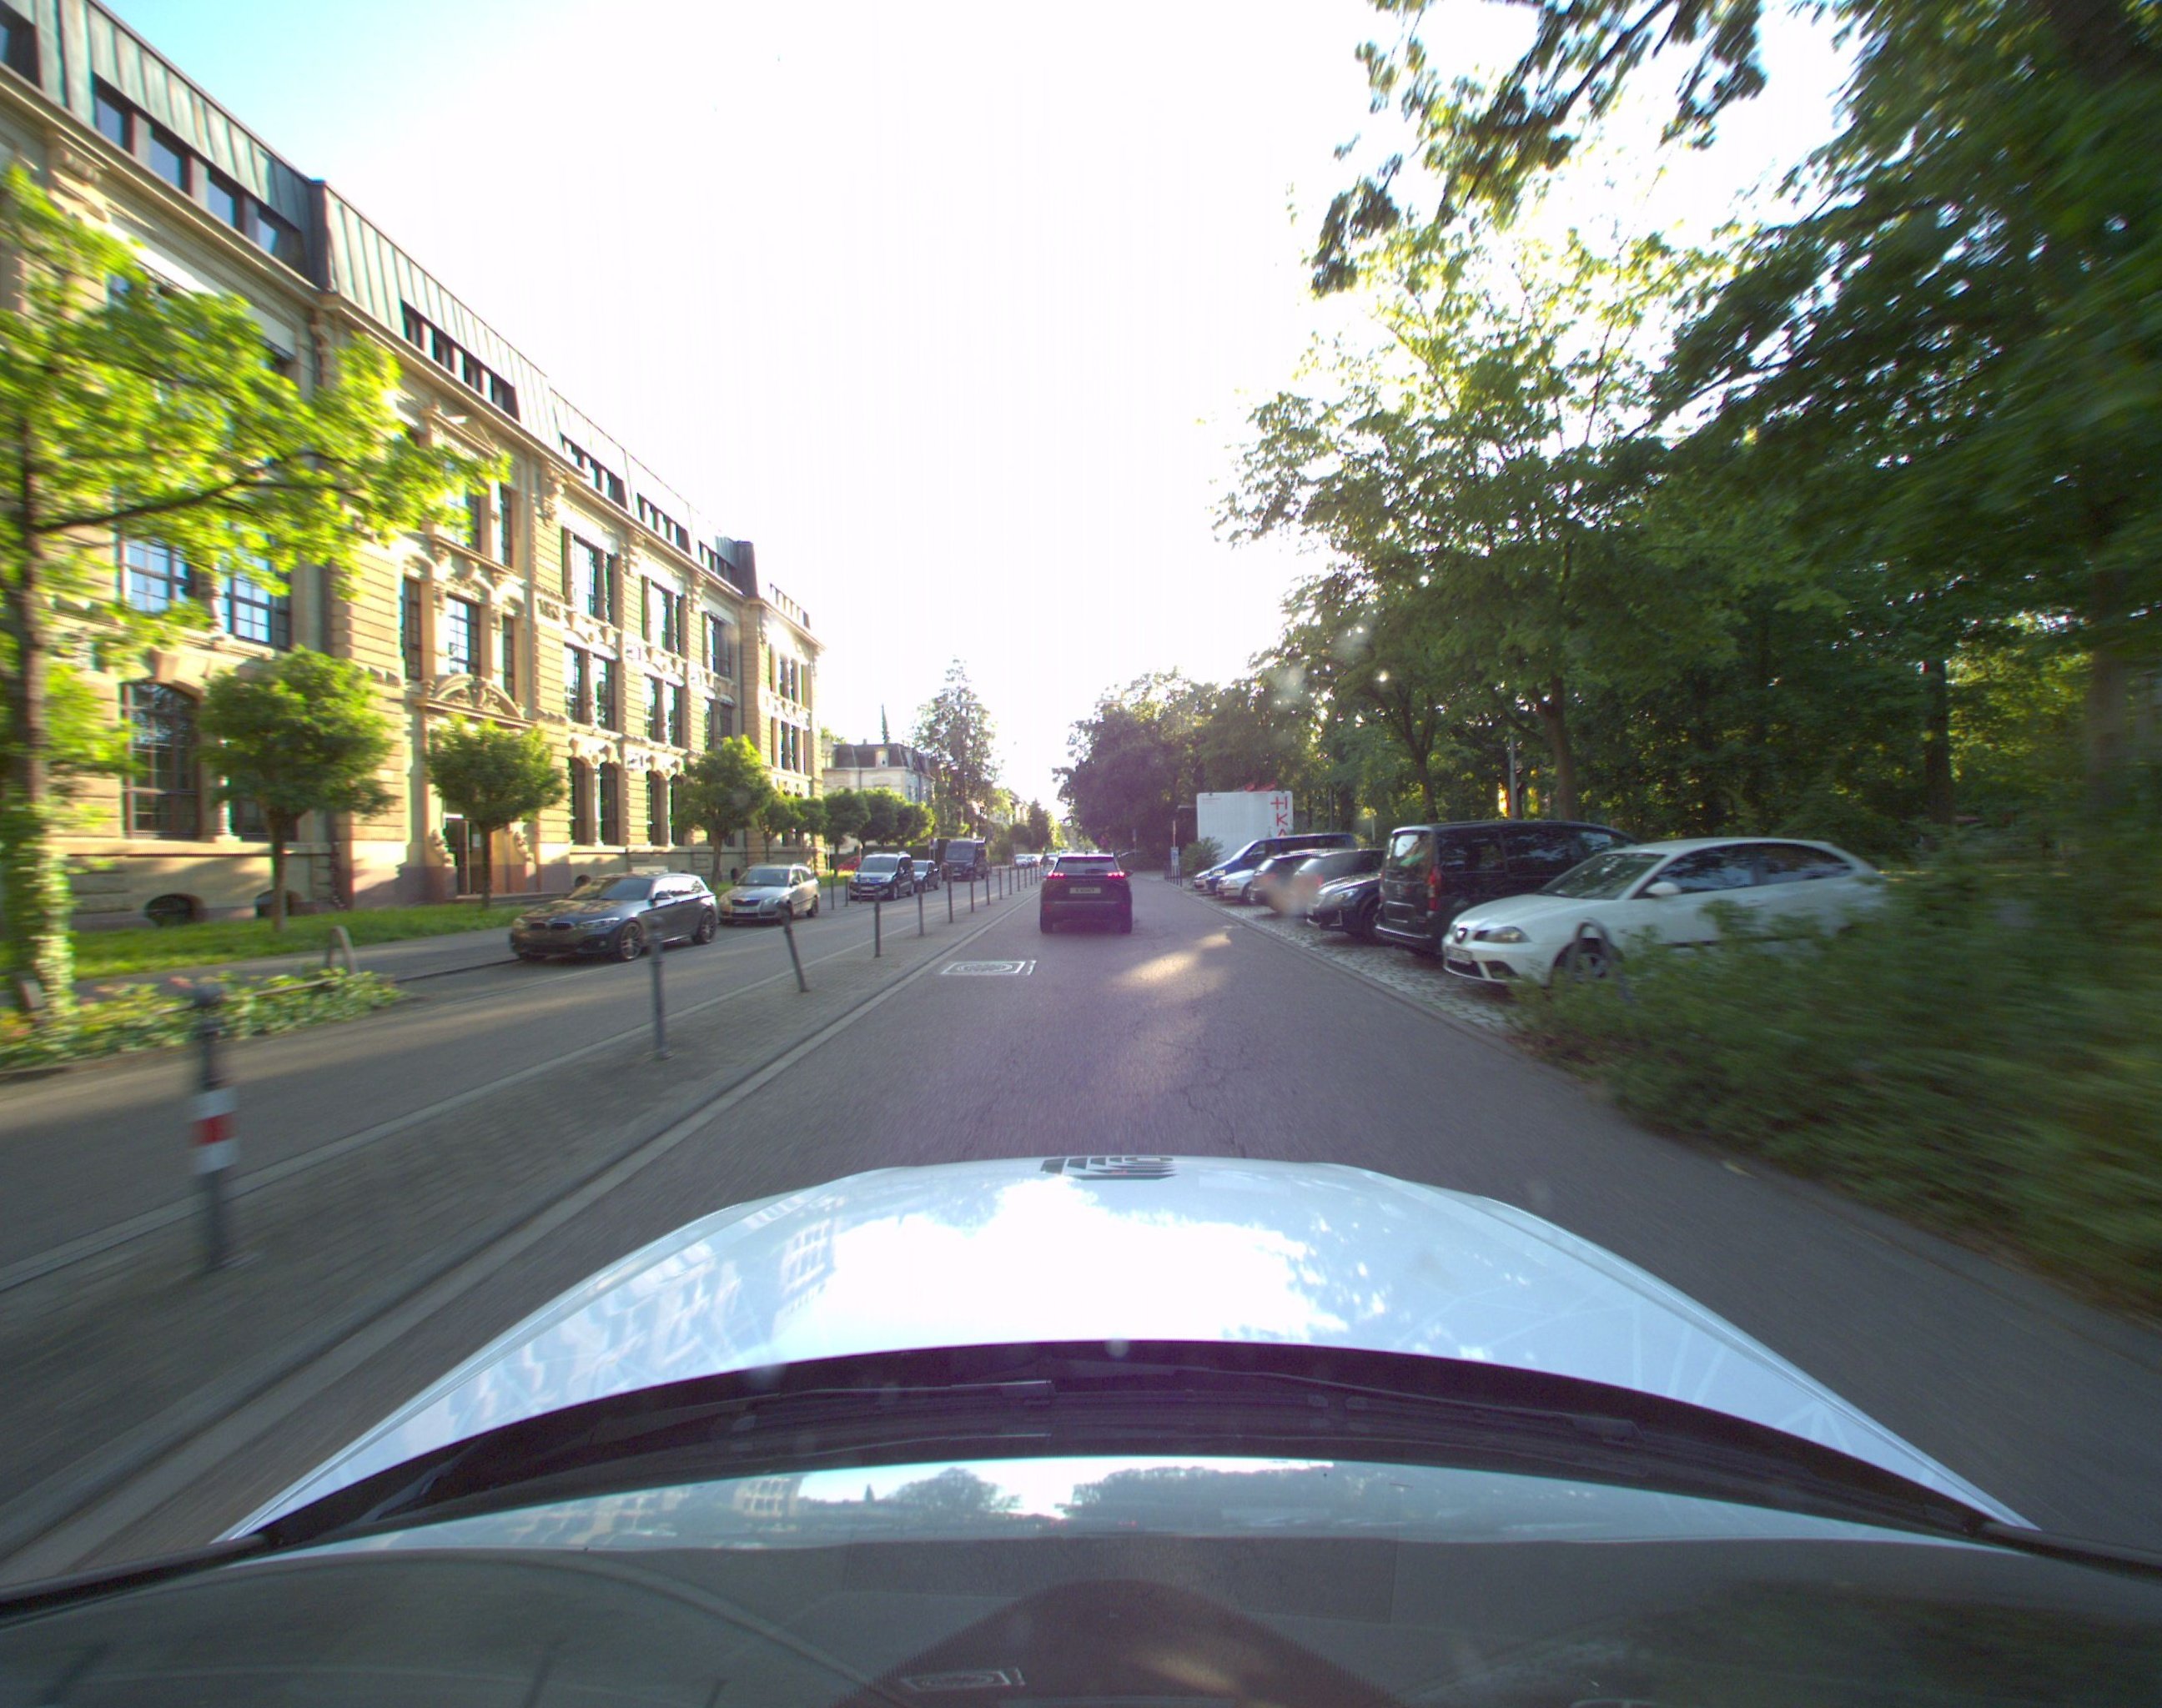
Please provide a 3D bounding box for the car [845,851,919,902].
[{"bbox_3d":[-7.798,0.815,32.324,1.771,1.866,4.334,1,0,1],"label":"car"}]

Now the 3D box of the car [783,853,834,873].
[{"bbox_3d":[-24.878,0.834,74.389,3.973,1.673,1.920,-1,0,0],"label":"car"}]

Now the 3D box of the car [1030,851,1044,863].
[{"bbox_3d":[-5.855,0.399,108.785,1.608,1.466,4.037,-2,0,1],"label":"car"}]

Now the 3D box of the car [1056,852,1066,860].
[{"bbox_3d":[-4.353,0.402,175.731,1.893,1.574,4.000,-1,0,1],"label":"car"}]

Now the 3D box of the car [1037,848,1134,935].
[{"bbox_3d":[0.134,0.679,16.996,1.765,1.568,4.110,0,0,1],"label":"car"}]

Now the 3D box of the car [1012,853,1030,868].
[{"bbox_3d":[-6.392,0.692,87.086,1.609,1.515,3.711,-3,0,-1],"label":"car"}]

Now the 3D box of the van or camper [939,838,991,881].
[{"bbox_3d":[-7.261,0.312,51.828,2.222,2.544,7.080,0,0,1],"label":"van or camper"}]

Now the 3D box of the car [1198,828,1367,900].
[{"bbox_3d":[6.345,0.306,26.036,4.836,1.915,1.916,-4,0,0],"label":"car"}]

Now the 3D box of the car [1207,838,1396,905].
[{"bbox_3d":[6.309,0.491,23.717,4.910,1.554,1.916,-4,0,0],"label":"car"}]

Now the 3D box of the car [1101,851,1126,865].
[{"bbox_3d":[5.392,0.656,134.479,3.979,2.089,1.755,-1,0,-4],"label":"car"}]

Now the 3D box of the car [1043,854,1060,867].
[{"bbox_3d":[-3.482,0.711,96.868,1.735,1.458,4.624,-2,0,1],"label":"car"}]

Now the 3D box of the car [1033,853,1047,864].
[{"bbox_3d":[-5.745,0.605,113.627,1.608,1.466,4.037,-2,0,1],"label":"car"}]

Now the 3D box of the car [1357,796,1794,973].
[{"bbox_3d":[6.068,0.351,10.407,4.349,1.780,1.921,-4,0,0],"label":"car"}]

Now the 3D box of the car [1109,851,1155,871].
[{"bbox_3d":[4.451,0.599,71.847,3.973,1.554,1.726,-2,1,0],"label":"car"}]

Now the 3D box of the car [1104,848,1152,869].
[{"bbox_3d":[3.989,0.372,69.456,3.973,1.554,1.726,-2,1,0],"label":"car"}]

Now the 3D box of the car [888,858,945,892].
[{"bbox_3d":[-7.629,0.954,38.200,1.689,1.470,3.857,1,0,3],"label":"car"}]

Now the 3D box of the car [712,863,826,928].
[{"bbox_3d":[-8.231,1.023,21.912,1.716,1.496,4.368,-1,0,-6],"label":"car"}]

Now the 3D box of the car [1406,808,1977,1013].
[{"bbox_3d":[5.787,0.500,8.124,4.349,1.554,1.727,-4,0,0],"label":"car"}]

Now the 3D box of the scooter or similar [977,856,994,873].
[{"bbox_3d":[-7.245,0.793,61.999,0.426,1.275,1.353,-2,0,36],"label":"scooter or similar"}]

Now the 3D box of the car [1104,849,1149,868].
[{"bbox_3d":[4.155,0.415,74.557,3.973,1.554,1.752,-2,1,0],"label":"car"}]

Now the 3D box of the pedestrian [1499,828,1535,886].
[{"bbox_3d":[13.688,0.091,25.591,0.662,1.772,0.785,-1,0,-3],"label":"pedestrian"}]

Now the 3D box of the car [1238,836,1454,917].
[{"bbox_3d":[6.036,0.493,18.924,4.349,1.537,1.921,-4,0,0],"label":"car"}]

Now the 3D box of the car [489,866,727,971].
[{"bbox_3d":[-8.161,1.019,14.587,1.612,1.496,4.378,-1,0,1],"label":"car"}]

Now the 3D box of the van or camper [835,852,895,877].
[{"bbox_3d":[-19.646,0.945,74.197,4.749,1.985,2.003,-2,4,3],"label":"van or camper"}]

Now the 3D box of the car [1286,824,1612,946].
[{"bbox_3d":[5.748,0.466,13.138,4.349,1.554,1.876,-4,0,0],"label":"car"}]

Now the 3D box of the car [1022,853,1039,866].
[{"bbox_3d":[-6.066,0.691,97.657,1.608,1.466,4.037,-2,0,1],"label":"car"}]

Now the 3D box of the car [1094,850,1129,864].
[{"bbox_3d":[3.870,0.388,102.602,4.231,1.449,2.020,-3,0,-2],"label":"car"}]

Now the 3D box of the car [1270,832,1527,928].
[{"bbox_3d":[6.223,0.487,16.323,4.349,1.537,1.921,-4,0,0],"label":"car"}]

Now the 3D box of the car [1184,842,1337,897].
[{"bbox_3d":[6.259,0.523,28.813,4.910,1.554,1.916,-4,0,0],"label":"car"}]
